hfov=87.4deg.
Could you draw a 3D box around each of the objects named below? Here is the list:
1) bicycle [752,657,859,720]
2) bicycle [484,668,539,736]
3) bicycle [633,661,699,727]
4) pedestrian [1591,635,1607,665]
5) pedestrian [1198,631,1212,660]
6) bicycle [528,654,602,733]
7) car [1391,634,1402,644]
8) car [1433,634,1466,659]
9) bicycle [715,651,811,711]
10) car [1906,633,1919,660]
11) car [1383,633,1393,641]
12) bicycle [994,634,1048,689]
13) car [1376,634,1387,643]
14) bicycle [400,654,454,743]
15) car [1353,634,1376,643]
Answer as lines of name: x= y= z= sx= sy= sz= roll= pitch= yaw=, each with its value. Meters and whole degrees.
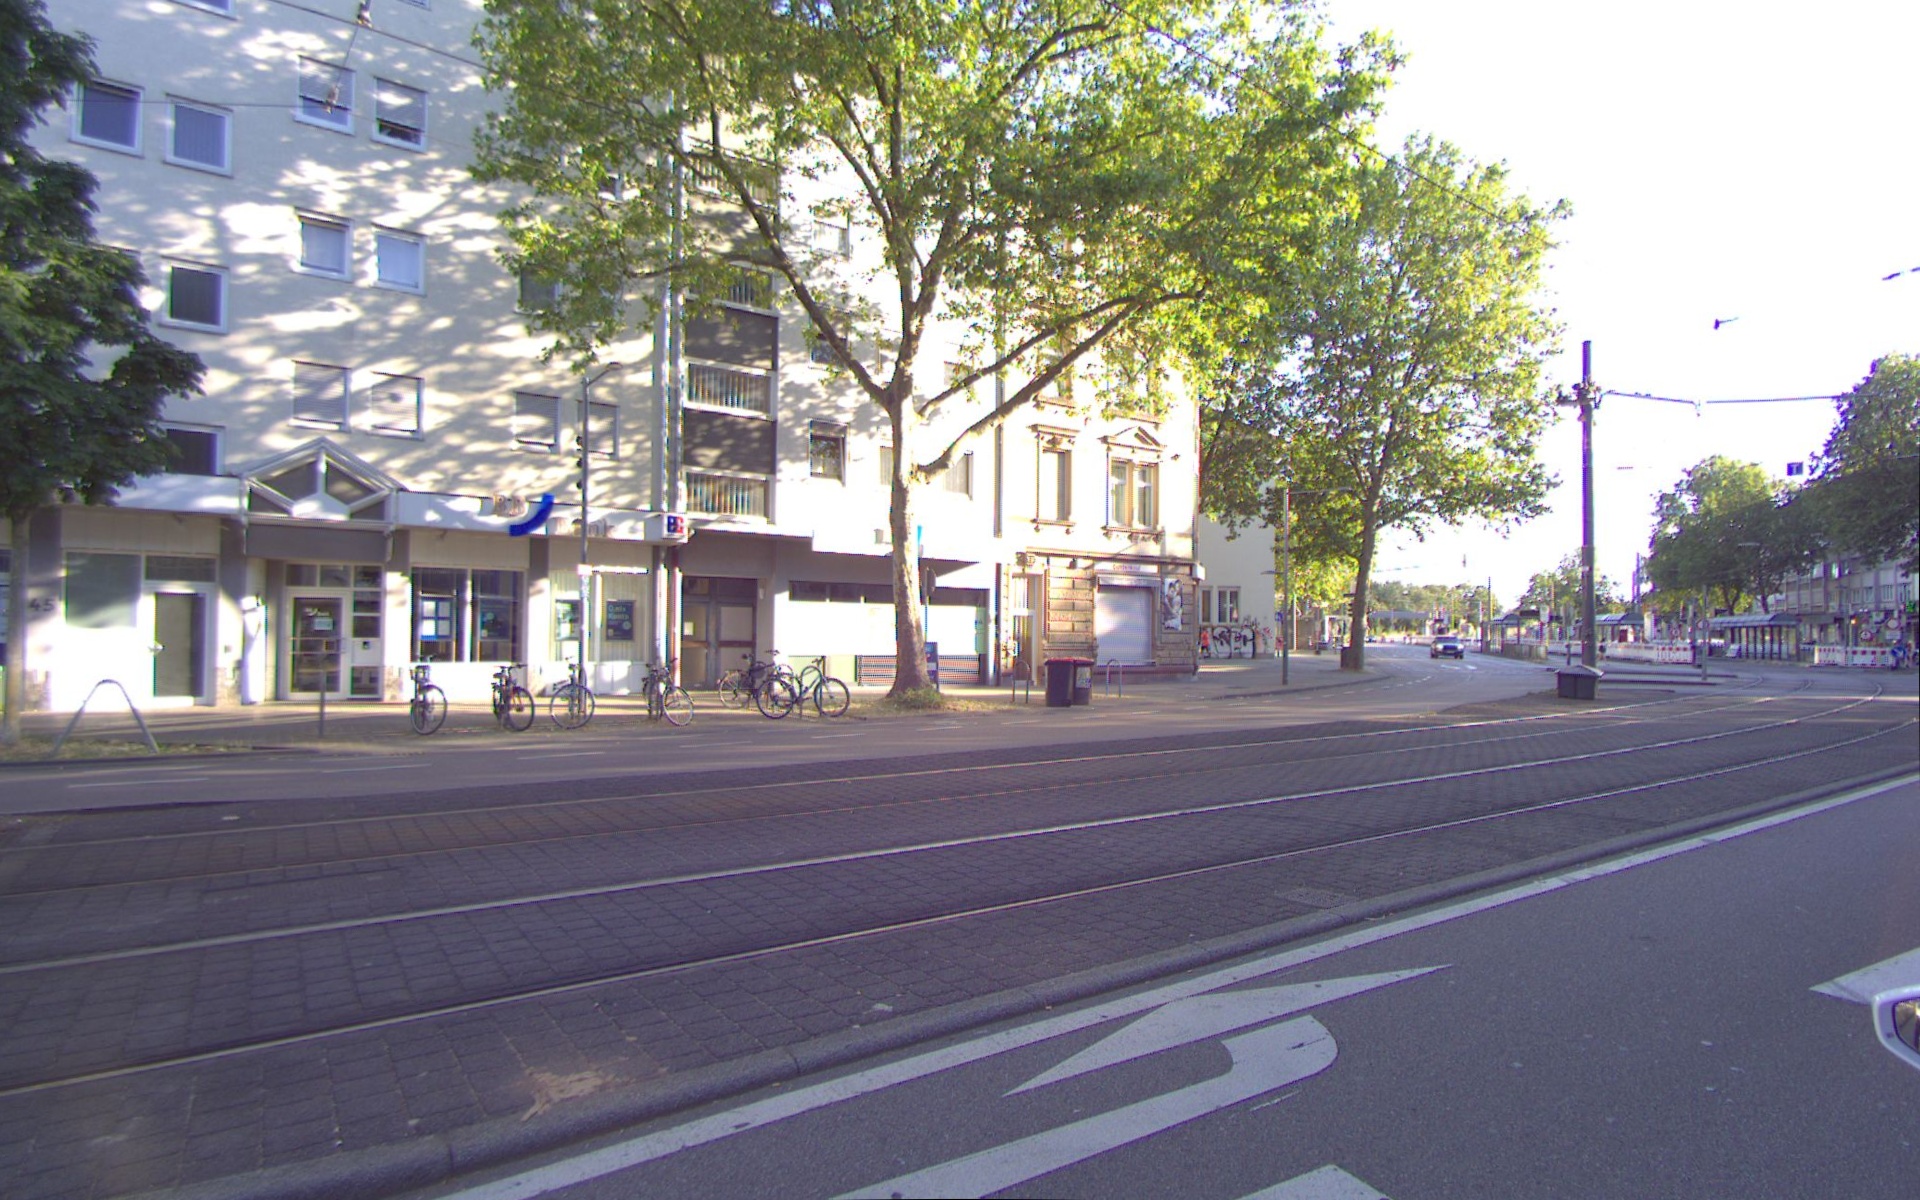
bicycle: x=-2.796 y=1.582 z=18.219 sx=1.800 sy=1.091 sz=0.649 roll=2 pitch=-2 yaw=-29
bicycle: x=-6.973 y=1.555 z=15.583 sx=0.467 sy=0.900 sz=1.729 roll=2 pitch=-1 yaw=-34
bicycle: x=-5.044 y=1.576 z=17.160 sx=0.584 sy=1.002 sz=1.729 roll=2 pitch=-1 yaw=-34
pedestrian: x=35.983 y=2.806 z=56.557 sx=0.645 sy=1.678 sz=0.444 roll=0 pitch=-2 yaw=18
pedestrian: x=12.897 y=2.388 z=52.940 sx=0.599 sy=1.533 sz=0.493 roll=0 pitch=-1 yaw=-6
bicycle: x=-6.341 y=1.457 z=16.078 sx=0.724 sy=1.128 sz=1.729 roll=2 pitch=-1 yaw=-34
car: x=78.770 y=7.082 z=181.332 sx=1.814 sy=1.706 sz=3.715 roll=-2 pitch=-2 yaw=23
car: x=32.973 y=3.121 z=67.691 sx=1.962 sy=1.661 sz=3.997 roll=0 pitch=-2 yaw=25
bicycle: x=-3.912 y=1.595 z=19.999 sx=1.777 sy=1.132 sz=0.617 roll=2 pitch=-2 yaw=-29
car: x=64.548 y=3.125 z=65.995 sx=1.960 sy=1.815 sz=4.000 roll=2 pitch=-1 yaw=20
car: x=89.568 y=7.800 z=210.263 sx=1.814 sy=1.706 sz=3.716 roll=0 pitch=-2 yaw=23
bicycle: x=1.650 y=1.655 z=27.429 sx=0.469 sy=1.430 sz=1.956 roll=1 pitch=-1 yaw=-29
car: x=79.450 y=7.248 z=189.314 sx=1.814 sy=1.706 sz=3.716 roll=0 pitch=-2 yaw=23
bicycle: x=-7.838 y=1.407 z=14.738 sx=0.506 sy=1.153 sz=1.729 roll=2 pitch=-1 yaw=-34
car: x=78.236 y=7.429 z=194.269 sx=3.919 sy=1.661 sz=1.792 roll=0 pitch=-2 yaw=13
